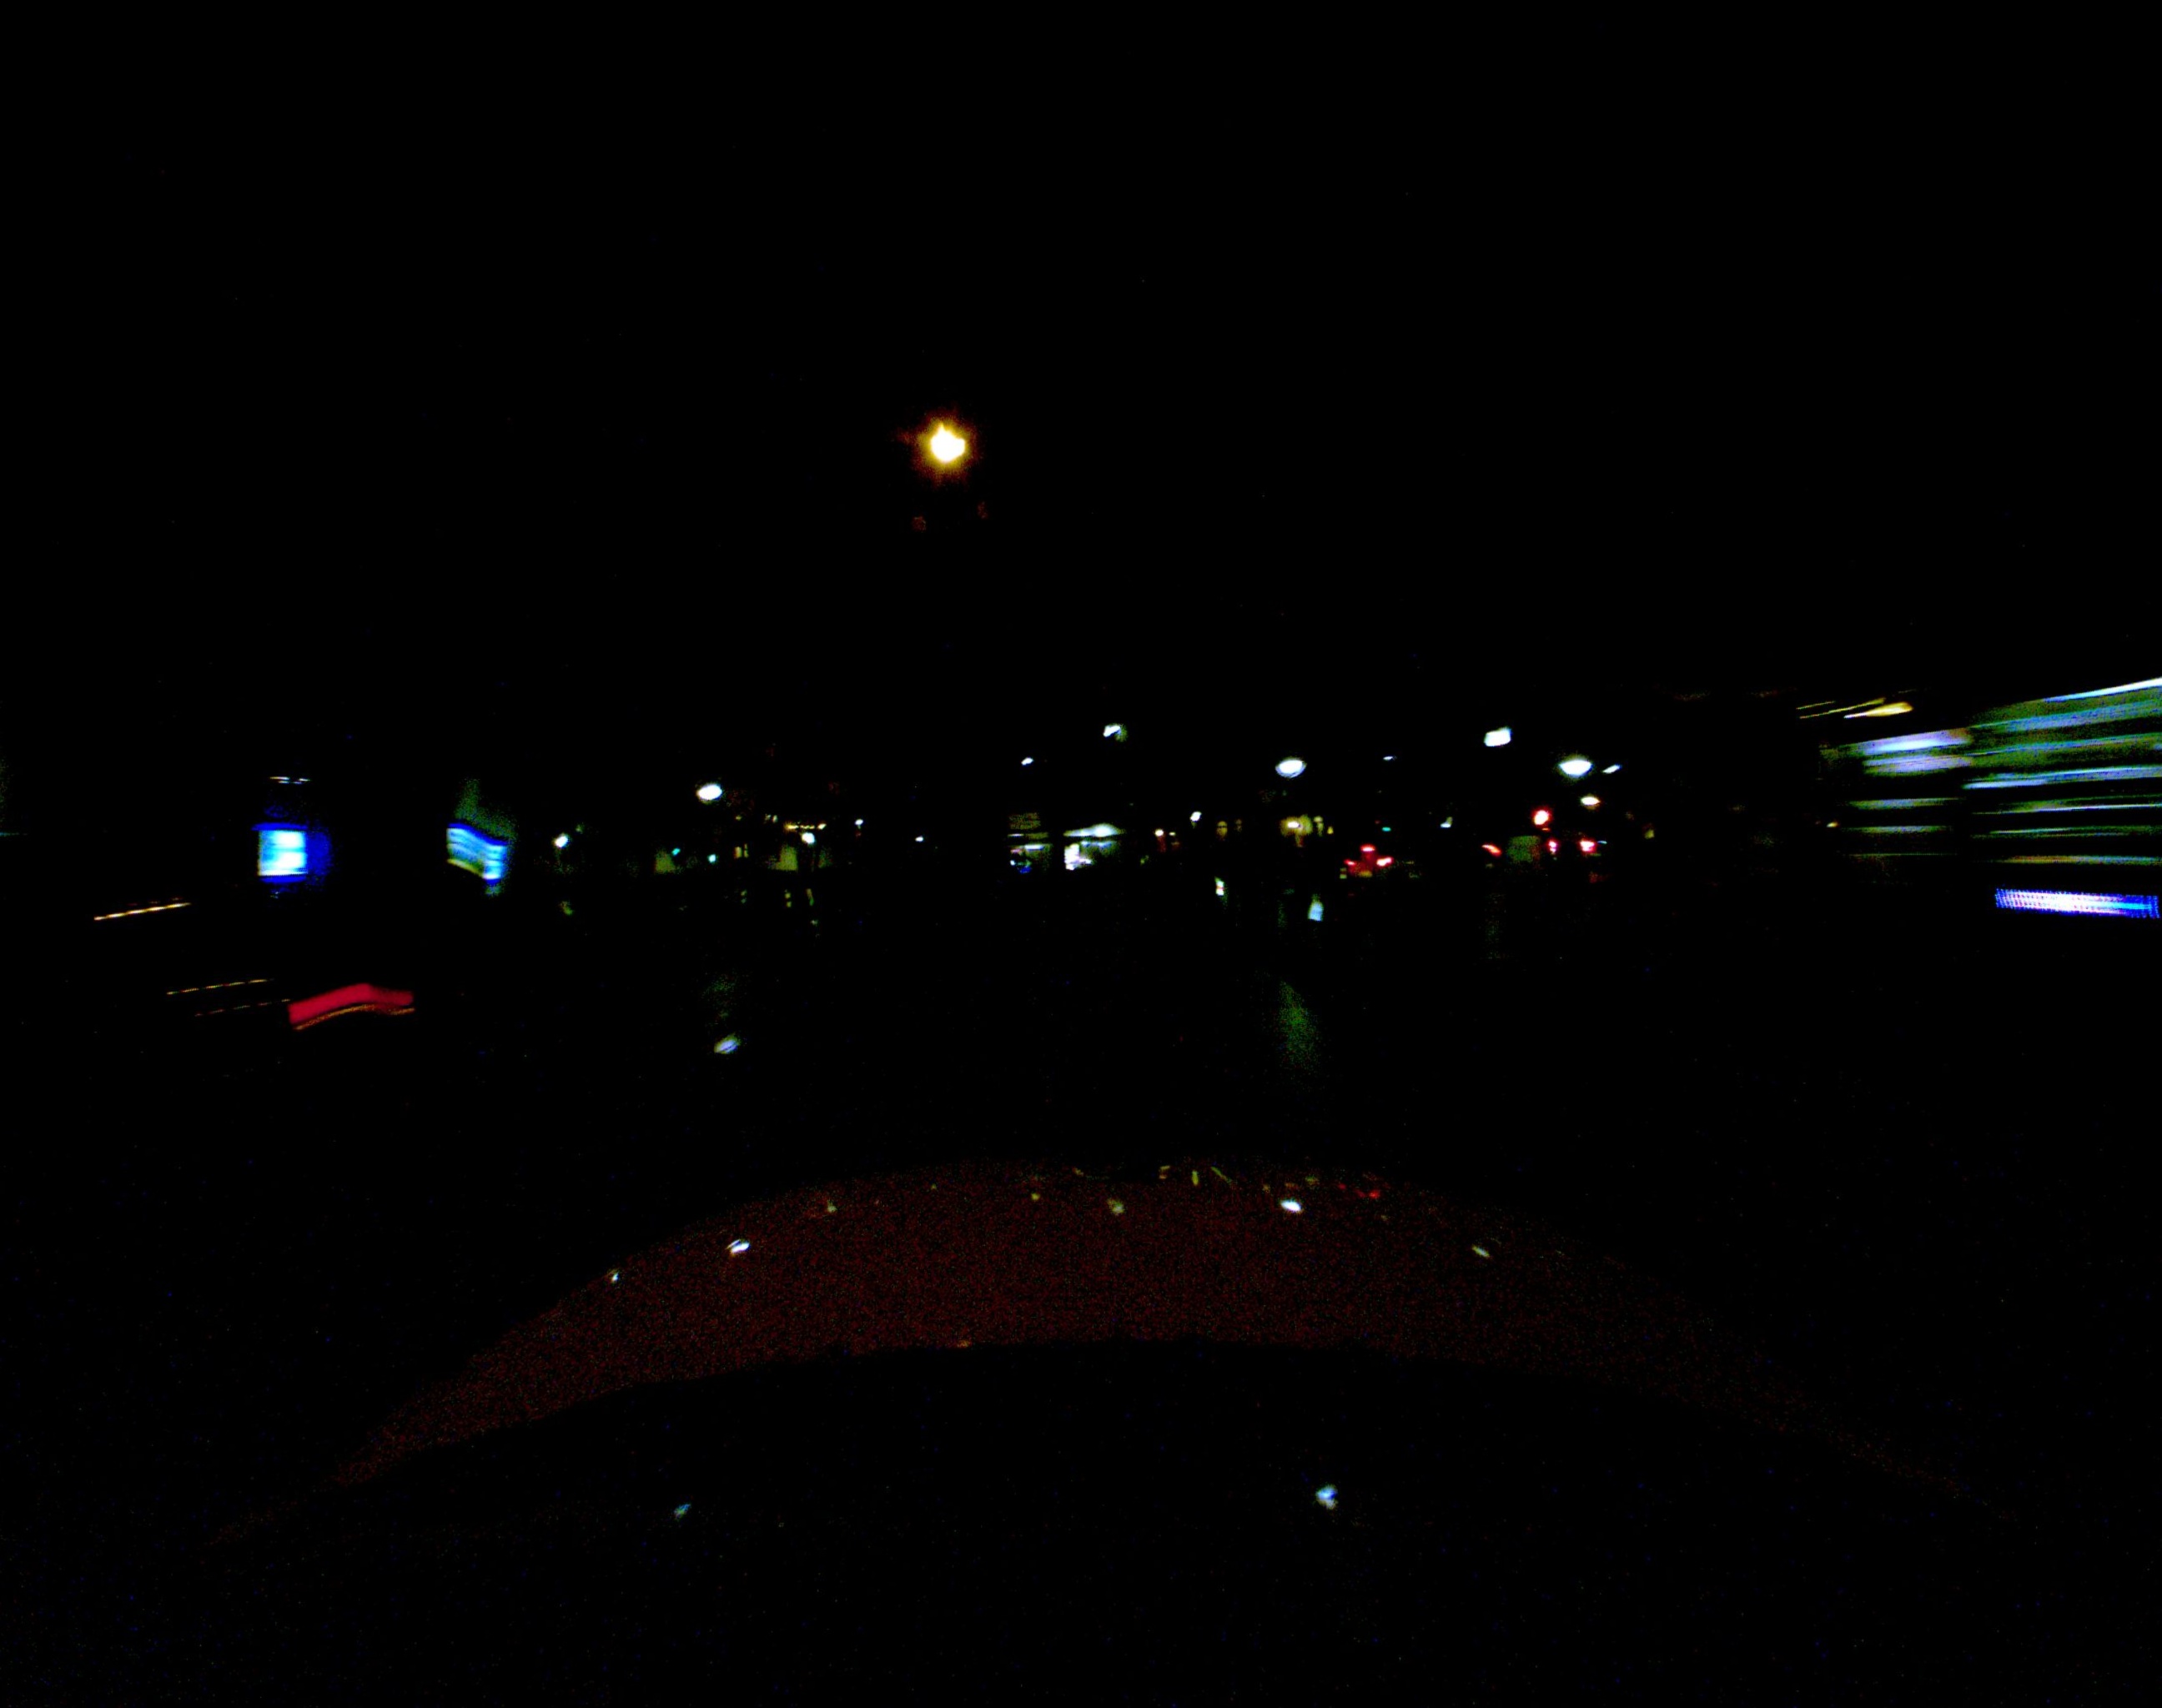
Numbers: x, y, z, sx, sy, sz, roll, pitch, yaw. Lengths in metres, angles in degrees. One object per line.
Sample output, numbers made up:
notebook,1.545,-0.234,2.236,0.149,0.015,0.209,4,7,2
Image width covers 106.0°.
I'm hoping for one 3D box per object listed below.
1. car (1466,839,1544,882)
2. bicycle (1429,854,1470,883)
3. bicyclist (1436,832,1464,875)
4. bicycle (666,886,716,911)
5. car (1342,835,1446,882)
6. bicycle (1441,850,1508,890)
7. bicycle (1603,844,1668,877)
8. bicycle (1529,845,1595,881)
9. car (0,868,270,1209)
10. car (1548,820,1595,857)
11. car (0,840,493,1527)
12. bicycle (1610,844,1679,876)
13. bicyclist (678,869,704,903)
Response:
car,18.234,0.276,34.975,1.975,1.728,4.024,0,-1,43
bicycle,14.760,0.567,32.575,1.724,1.149,0.768,1,-1,-37
bicyclist,14.762,-0.026,32.579,0.711,1.675,0.790,1,-1,-37
bicycle,-15.860,1.801,33.143,1.787,0.931,0.495,1,-1,-25
car,11.319,0.170,29.434,3.471,1.613,1.720,1,-1,-30
bicycle,10.910,0.443,22.636,0.452,1.059,1.645,-2,0,-35
bicycle,18.676,0.221,27.458,0.452,1.059,1.717,-2,0,-35
bicycle,14.483,0.276,24.549,0.452,1.059,1.645,-2,0,-35
car,-6.438,0.980,3.239,1.827,1.717,4.592,-2,0,-1
car,25.128,-0.751,41.755,1.974,1.728,4.025,0,-1,31
car,-3.497,0.835,1.380,1.918,1.618,4.565,-4,0,-6
bicycle,19.625,0.211,28.404,0.453,1.059,1.914,-2,0,-40
bicyclist,-15.869,1.292,33.148,0.896,1.380,0.501,1,-1,-25
